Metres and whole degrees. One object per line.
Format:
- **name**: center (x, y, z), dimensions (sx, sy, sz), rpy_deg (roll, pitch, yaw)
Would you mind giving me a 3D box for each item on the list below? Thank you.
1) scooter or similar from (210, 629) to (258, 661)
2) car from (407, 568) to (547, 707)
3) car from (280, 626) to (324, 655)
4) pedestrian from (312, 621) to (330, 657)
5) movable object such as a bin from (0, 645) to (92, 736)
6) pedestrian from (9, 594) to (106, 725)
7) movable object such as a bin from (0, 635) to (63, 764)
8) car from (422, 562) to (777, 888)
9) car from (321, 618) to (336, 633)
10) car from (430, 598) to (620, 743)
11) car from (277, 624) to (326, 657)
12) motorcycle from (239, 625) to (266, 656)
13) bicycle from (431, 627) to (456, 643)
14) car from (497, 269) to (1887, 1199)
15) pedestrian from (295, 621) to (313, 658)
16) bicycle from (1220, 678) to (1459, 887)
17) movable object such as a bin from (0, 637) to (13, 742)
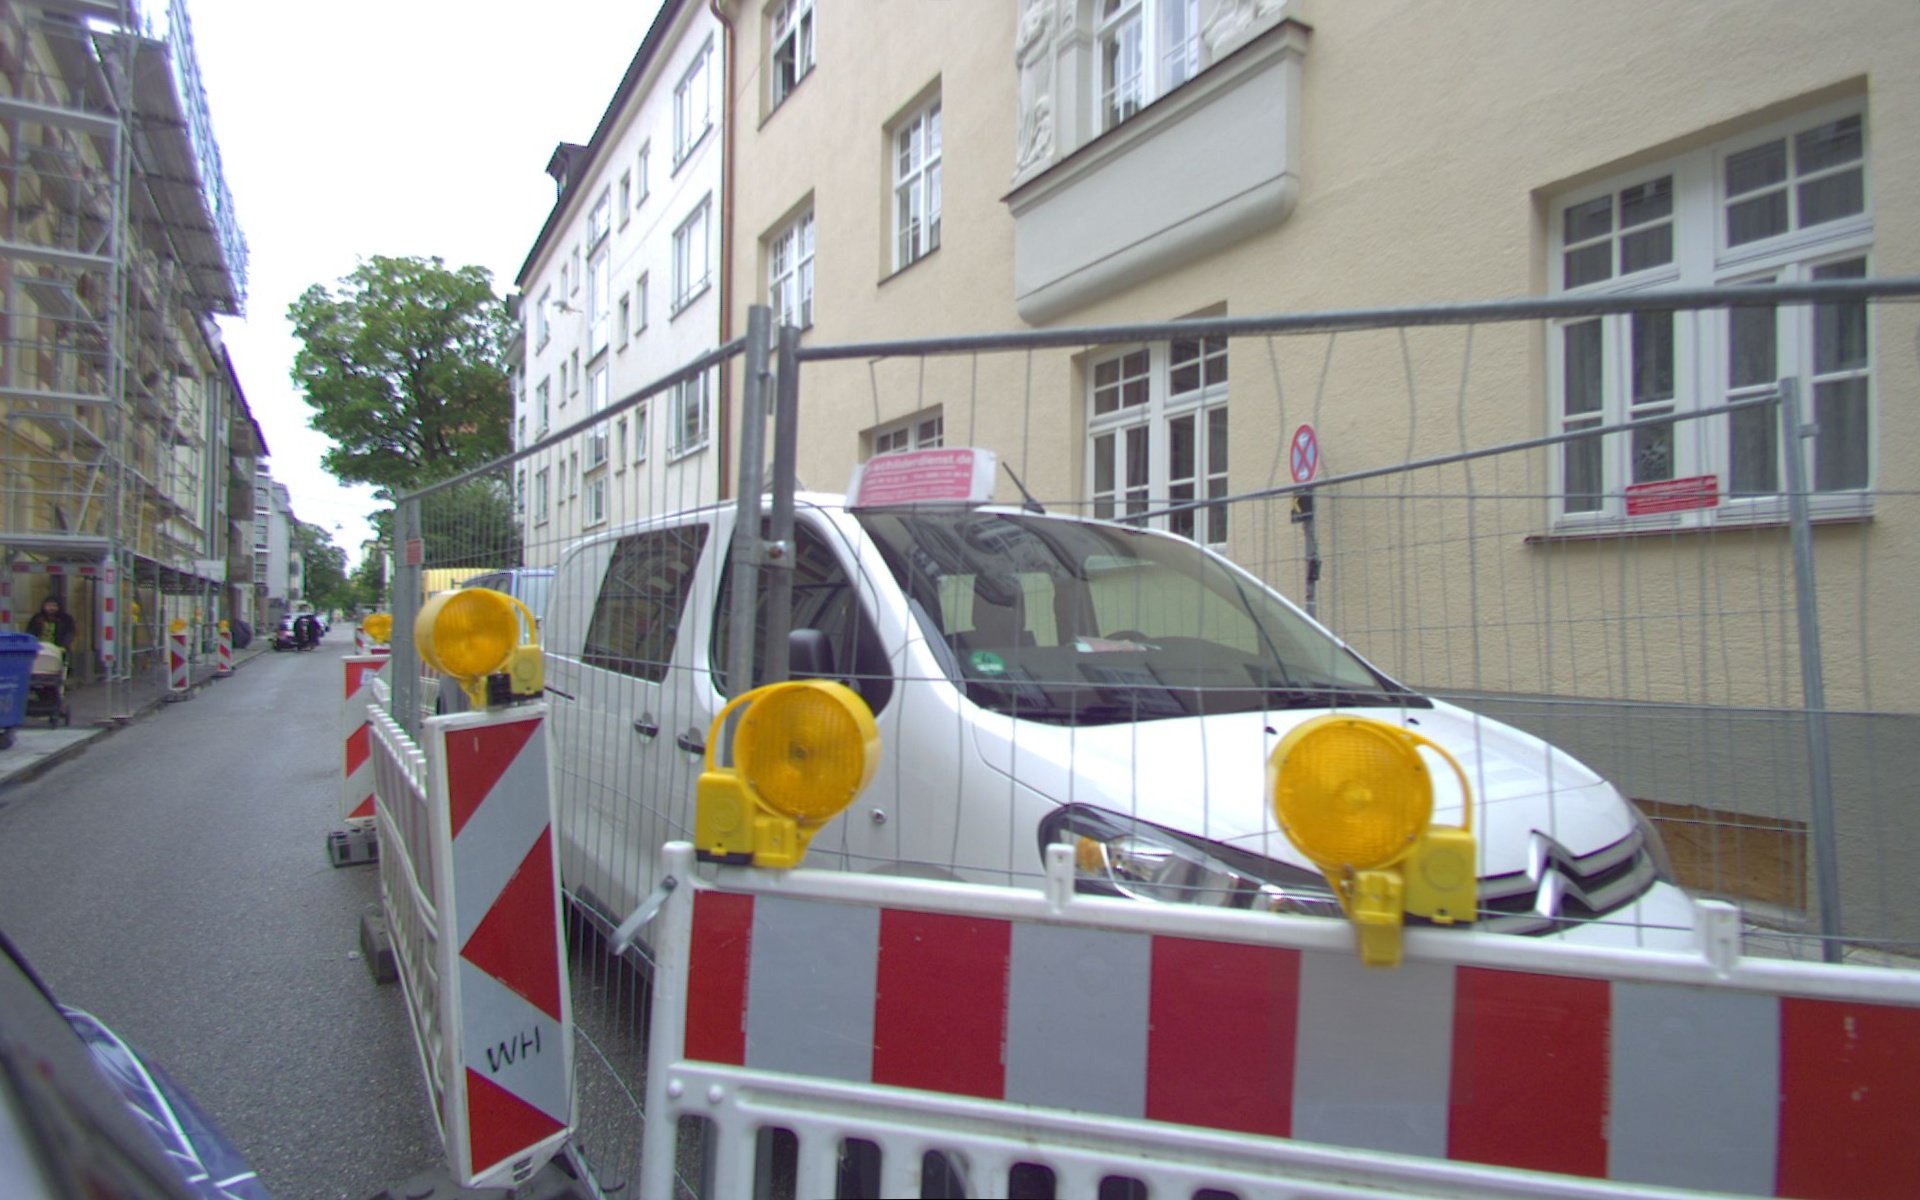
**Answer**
- **scooter or similar**: center (-29.326, 1.831, 40.906), dimensions (0.489, 1.192, 1.603), rpy_deg (2, -4, 9)
- **car**: center (-10.859, 0.806, 22.410), dimensions (1.966, 2.598, 6.756), rpy_deg (2, -3, -32)
- **car**: center (-35.247, 2.132, 54.297), dimensions (1.744, 1.472, 4.393), rpy_deg (-1, -1, -30)
- **pedestrian**: center (-30.298, 1.843, 47.991), dimensions (0.649, 1.699, 0.548), rpy_deg (-1, -1, -26)
- **movable object such as a bin**: center (-12.479, 1.226, 13.801), dimensions (0.719, 1.149, 0.991), rpy_deg (7, -5, -32)
- **pedestrian**: center (-12.822, 0.839, 14.415), dimensions (0.719, 1.766, 0.991), rpy_deg (6, -5, -32)
- **movable object such as a bin**: center (-10.937, 1.062, 11.140), dimensions (1.071, 1.356, 1.321), rpy_deg (4, -4, -19)
- **car**: center (-3.453, 0.831, 8.770), dimensions (1.703, 1.912, 5.524), rpy_deg (4, -3, -31)
- **car**: center (-70.234, 2.830, 112.561), dimensions (1.358, 1.521, 3.463), rpy_deg (2, -2, -32)
- **car**: center (-6.949, 1.022, 15.848), dimensions (1.891, 1.912, 4.804), rpy_deg (4, -3, -33)
- **car**: center (-32.407, 1.949, 49.877), dimensions (1.747, 1.535, 4.079), rpy_deg (-1, -1, -29)
- **motorcycle**: center (-34.270, 1.948, 49.031), dimensions (0.794, 1.434, 1.938), rpy_deg (7, -5, -30)
- **bicycle**: center (-42.367, 2.854, 82.954), dimensions (1.782, 1.270, 0.433), rpy_deg (2, -2, -33)
- **car**: center (-0.199, 0.639, 3.778), dimensions (1.879, 1.912, 5.102), rpy_deg (2, -2, -35)
- **pedestrian**: center (-29.970, 1.800, 46.238), dimensions (0.649, 1.699, 0.588), rpy_deg (-1, -2, -26)
- **bicycle**: center (2.267, 1.046, 6.215), dimensions (0.299, 1.059, 1.458), rpy_deg (0, -1, -33)
- **movable object such as a bin**: center (-10.423, 1.014, 9.999), dimensions (1.110, 1.356, 1.175), rpy_deg (5, -4, -23)
